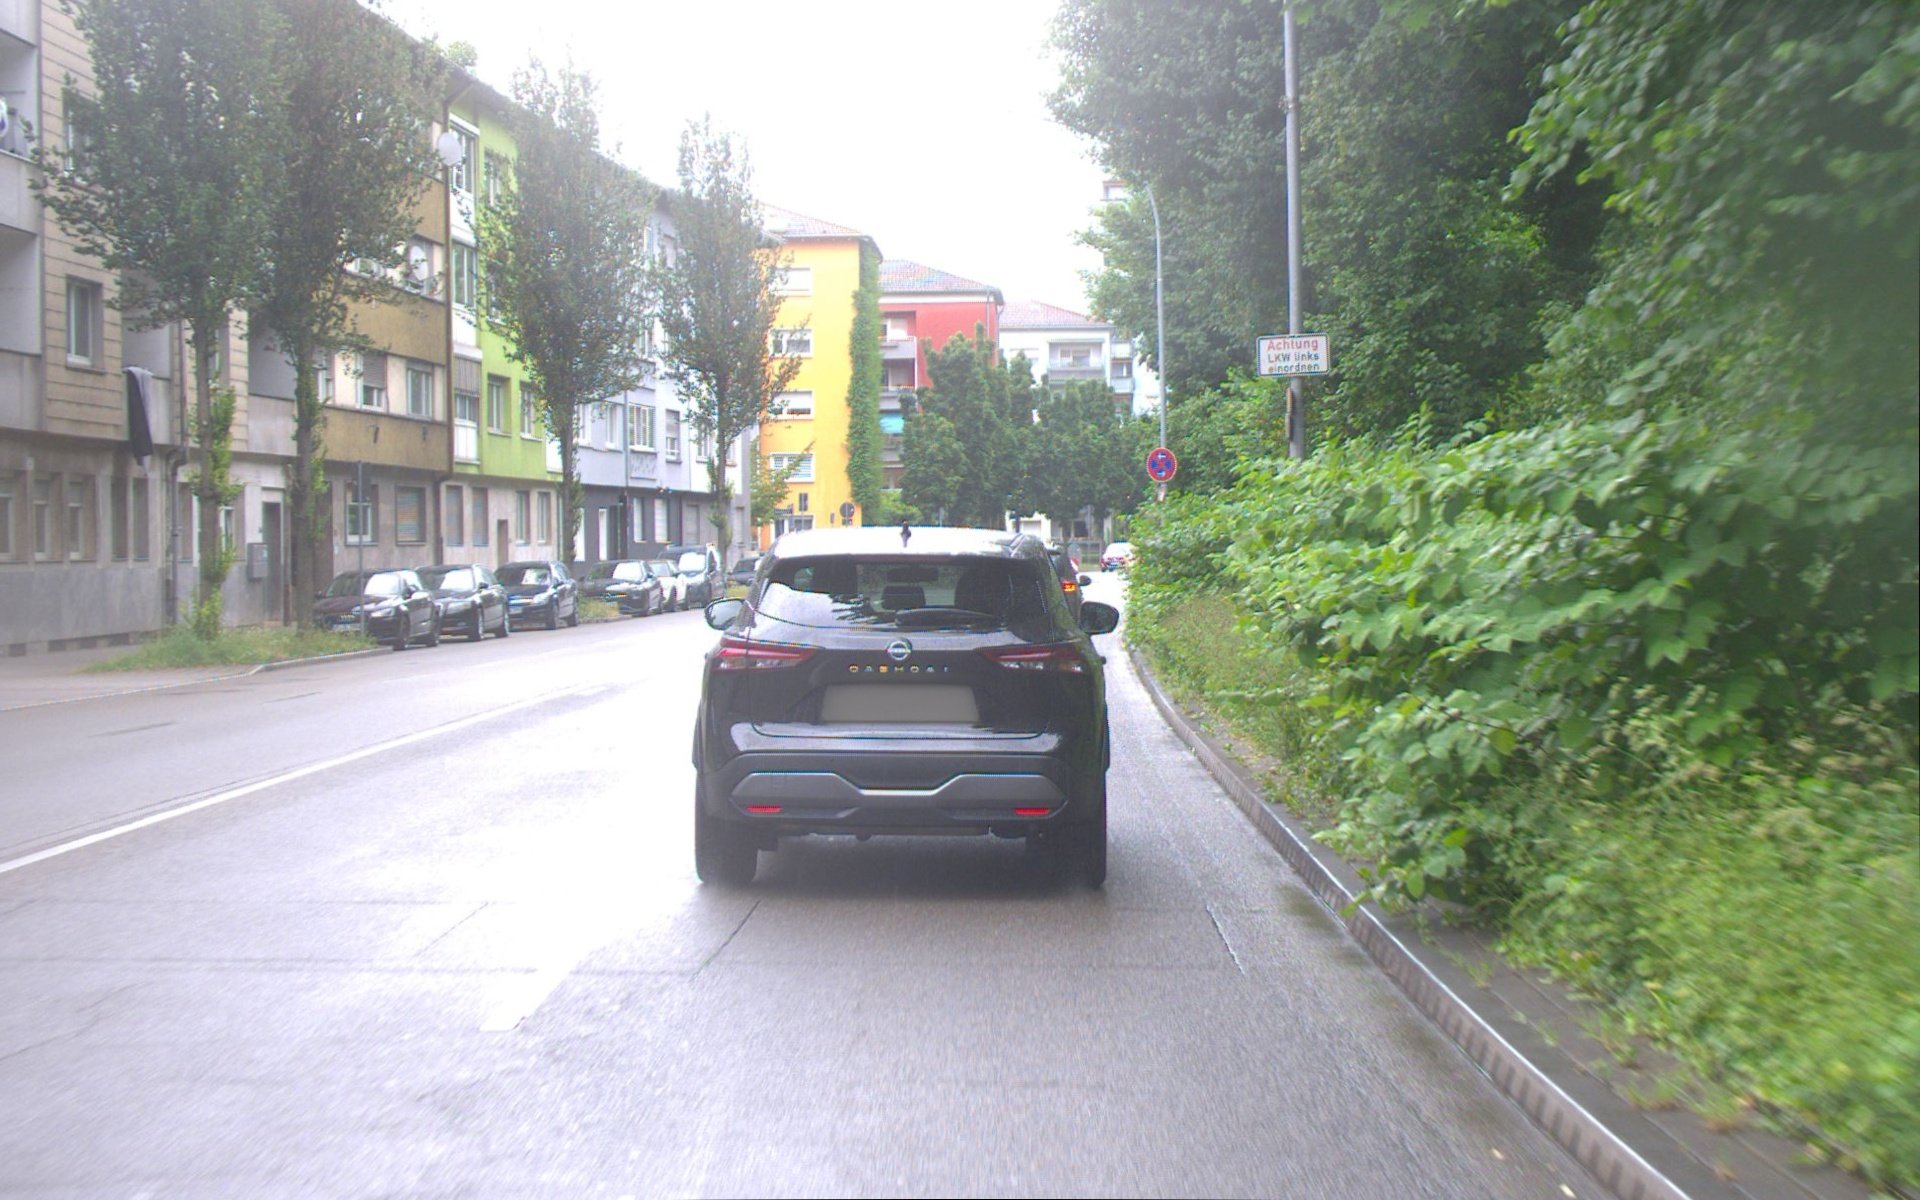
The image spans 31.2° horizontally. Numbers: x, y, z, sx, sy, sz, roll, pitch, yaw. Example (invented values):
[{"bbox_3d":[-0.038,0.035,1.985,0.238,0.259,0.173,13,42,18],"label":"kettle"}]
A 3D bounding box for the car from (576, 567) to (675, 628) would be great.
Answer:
[{"bbox_3d":[-8.393,-0.085,86.528,1.817,1.367,4.680,-2,1,2],"label":"car"}]

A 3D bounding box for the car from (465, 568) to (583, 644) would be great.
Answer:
[{"bbox_3d":[-9.452,0.108,74.828,1.718,1.483,4.514,-2,1,3],"label":"car"}]

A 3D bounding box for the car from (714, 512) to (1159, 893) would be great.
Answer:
[{"bbox_3d":[-0.147,0.387,16.409,1.844,1.577,4.000,1,1,-1],"label":"car"}]

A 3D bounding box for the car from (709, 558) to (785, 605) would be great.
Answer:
[{"bbox_3d":[-6.849,-0.613,110.722,1.688,1.353,4.578,-4,1,5],"label":"car"}]

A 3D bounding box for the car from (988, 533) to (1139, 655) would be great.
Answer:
[{"bbox_3d":[1.551,-0.119,50.019,1.887,1.705,3.999,0,1,6],"label":"car"}]

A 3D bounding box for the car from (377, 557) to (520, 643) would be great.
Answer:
[{"bbox_3d":[-9.736,-0.031,65.804,1.817,1.483,4.790,-2,1,2],"label":"car"}]

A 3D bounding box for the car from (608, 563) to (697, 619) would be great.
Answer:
[{"bbox_3d":[-8.226,-0.261,92.223,1.680,1.371,4.000,-3,1,4],"label":"car"}]

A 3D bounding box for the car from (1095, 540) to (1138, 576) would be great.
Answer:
[{"bbox_3d":[6.603,-1.789,144.872,1.706,1.473,3.680,-1,1,4],"label":"car"}]

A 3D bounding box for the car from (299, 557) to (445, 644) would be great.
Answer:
[{"bbox_3d":[-10.152,-0.008,59.583,1.626,1.382,3.988,-1,1,3],"label":"car"}]
